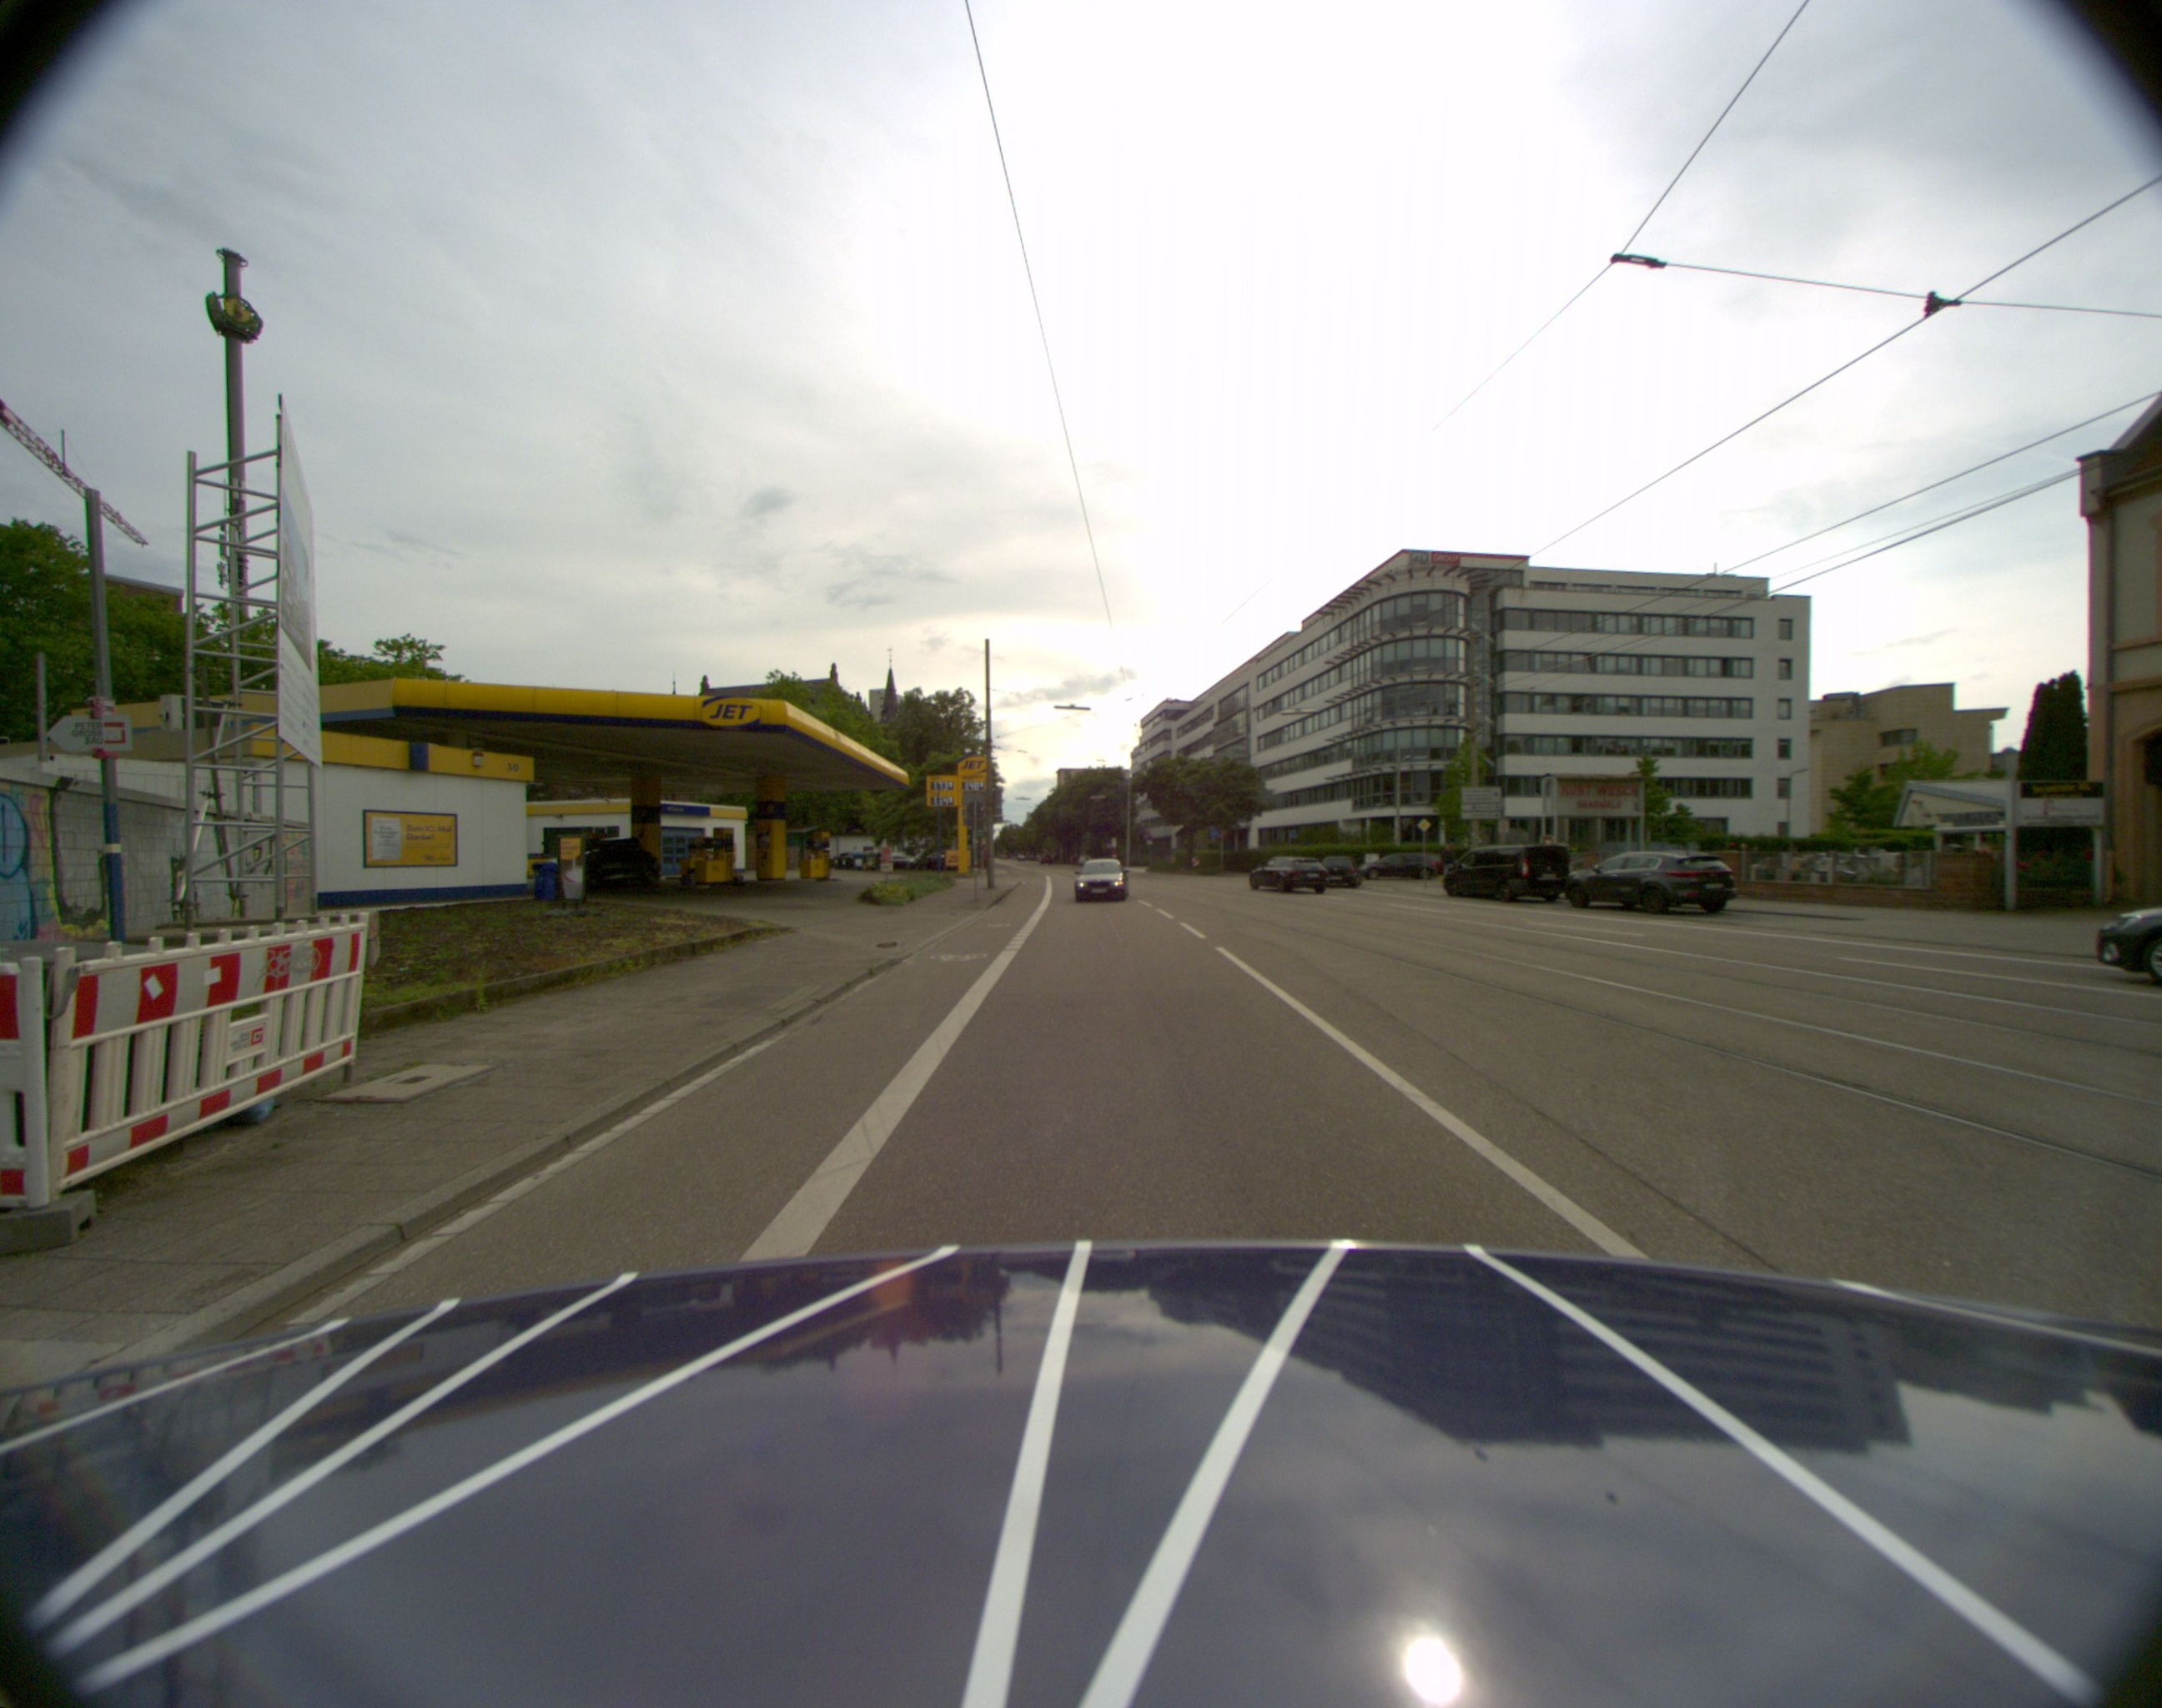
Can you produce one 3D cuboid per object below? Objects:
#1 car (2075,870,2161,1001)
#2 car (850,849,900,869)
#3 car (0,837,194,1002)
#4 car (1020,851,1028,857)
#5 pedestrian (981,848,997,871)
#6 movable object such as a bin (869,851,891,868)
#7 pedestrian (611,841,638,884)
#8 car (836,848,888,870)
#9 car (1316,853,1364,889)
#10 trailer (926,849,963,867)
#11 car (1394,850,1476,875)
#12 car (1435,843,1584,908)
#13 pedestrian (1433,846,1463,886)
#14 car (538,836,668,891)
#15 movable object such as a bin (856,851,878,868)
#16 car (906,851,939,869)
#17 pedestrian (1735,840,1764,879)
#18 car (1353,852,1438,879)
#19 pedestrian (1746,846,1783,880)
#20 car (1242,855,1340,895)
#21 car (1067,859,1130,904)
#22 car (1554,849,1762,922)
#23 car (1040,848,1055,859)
[{"bbox_3d":[13.027,0.922,6.933,1.888,1.420,4.420,1,0,-9],"label":"car"},{"bbox_3d":[-18.284,0.431,67.471,3.999,1.657,1.999,-1,1,-7],"label":"car"},{"bbox_3d":[-12.472,0.641,8.488,2.003,1.628,3.940,0,1,-28],"label":"car"},{"bbox_3d":[-14.854,-0.008,197.475,1.802,1.537,4.476,-1,1,-10],"label":"car"},{"bbox_3d":[-7.246,0.456,59.846,0.871,1.738,0.848,2,1,-32],"label":"pedestrian"},{"bbox_3d":[-15.689,0.432,59.370,1.118,1.312,1.162,-1,1,28],"label":"movable object such as a bin"},{"bbox_3d":[-19.342,0.359,32.229,0.706,1.777,0.628,-1,1,21],"label":"pedestrian"},{"bbox_3d":[-18.198,0.421,63.382,1.807,1.686,4.033,-1,1,30],"label":"car"},{"bbox_3d":[12.142,0.757,35.437,1.791,1.521,4.148,2,1,22],"label":"car"},{"bbox_3d":[-12.577,0.330,70.231,3.293,1.523,1.772,1,3,-7],"label":"trailer"},{"bbox_3d":[20.793,0.519,44.672,4.019,1.413,1.725,-1,-1,-7],"label":"car"},{"bbox_3d":[14.969,0.671,26.988,1.992,2.002,5.181,-2,1,-5],"label":"car"},{"bbox_3d":[16.939,0.549,35.066,0.806,1.814,1.059,-1,1,-3],"label":"pedestrian"},{"bbox_3d":[-18.745,0.304,30.047,1.821,1.977,4.258,1,1,15],"label":"car"},{"bbox_3d":[-16.855,0.424,59.798,1.118,1.351,1.162,-1,1,28],"label":"movable object such as a bin"},{"bbox_3d":[-12.887,0.469,61.904,1.999,1.281,3.998,-1,1,-3],"label":"car"},{"bbox_3d":[30.232,0.239,34.367,0.636,1.764,0.761,-1,1,-1],"label":"pedestrian"},{"bbox_3d":[17.345,0.614,42.017,3.982,1.443,1.817,0,1,5],"label":"car"},{"bbox_3d":[40.676,0.534,45.221,1.217,2.002,1.186,0,1,-19],"label":"pedestrian"},{"bbox_3d":[8.456,0.804,31.042,1.911,1.464,4.815,1,0,-11],"label":"car"},{"bbox_3d":[0.702,0.911,26.736,1.786,1.361,4.115,-1,1,7],"label":"car"},{"bbox_3d":[15.855,0.788,21.270,2.043,1.739,4.532,-2,0,-7],"label":"car"},{"bbox_3d":[-5.556,-0.071,126.212,1.848,1.714,4.403,0,1,-10],"label":"car"}]
